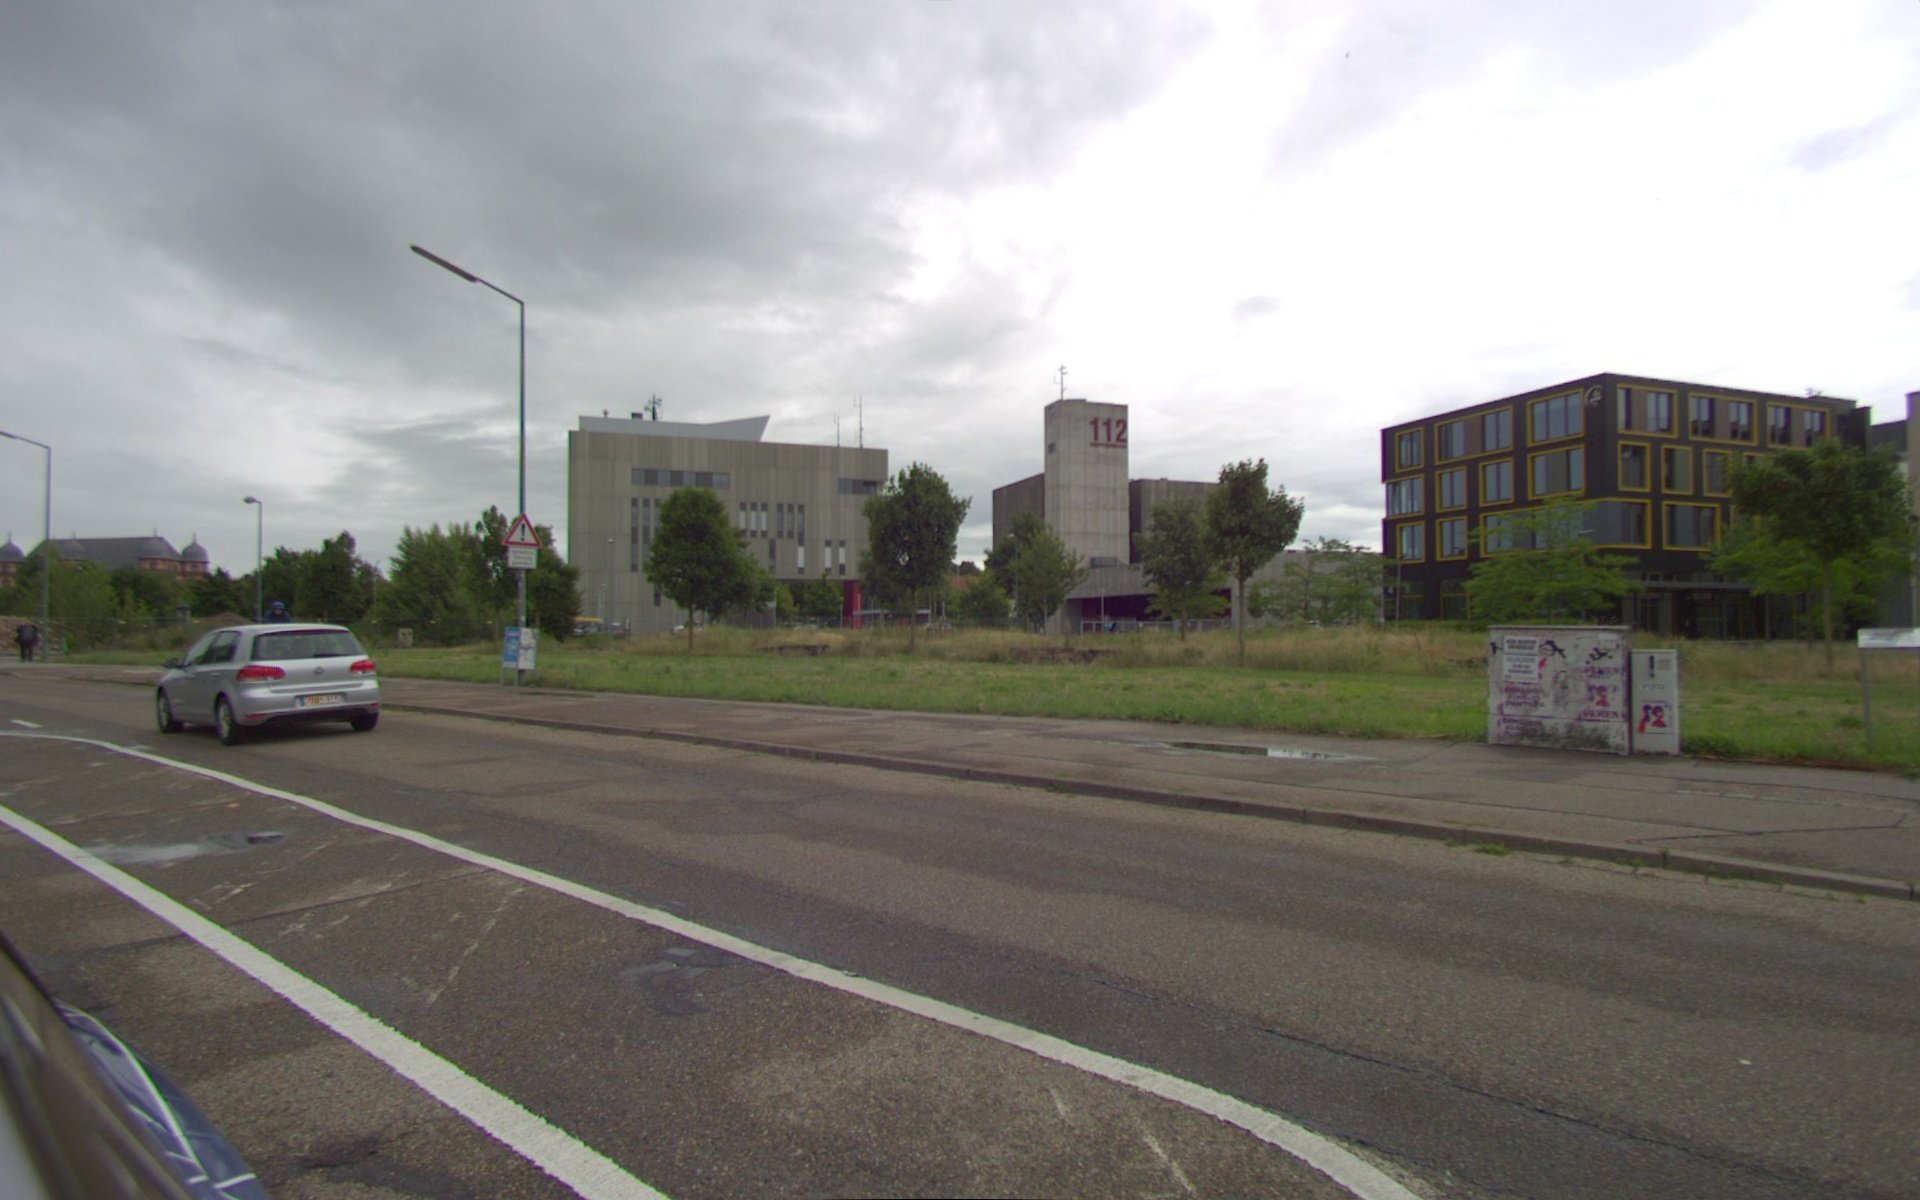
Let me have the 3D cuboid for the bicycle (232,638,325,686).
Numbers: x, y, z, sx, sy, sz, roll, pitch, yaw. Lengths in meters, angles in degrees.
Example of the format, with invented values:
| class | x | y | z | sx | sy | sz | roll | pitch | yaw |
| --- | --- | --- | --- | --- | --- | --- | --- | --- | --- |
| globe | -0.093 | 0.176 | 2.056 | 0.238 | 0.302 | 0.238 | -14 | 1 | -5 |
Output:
| class | x | y | z | sx | sy | sz | roll | pitch | yaw |
| --- | --- | --- | --- | --- | --- | --- | --- | --- | --- |
| bicycle | -15.781 | 1.425 | 23.410 | 2.461 | 1.060 | 0.877 | -3 | -3 | 32 |

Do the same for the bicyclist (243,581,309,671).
| class | x | y | z | sx | sy | sz | roll | pitch | yaw |
| --- | --- | --- | --- | --- | --- | --- | --- | --- | --- |
| bicyclist | -15.886 | 0.624 | 23.496 | 1.173 | 2.029 | 0.855 | -3 | -3 | 31 |

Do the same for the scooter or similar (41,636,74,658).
| class | x | y | z | sx | sy | sz | roll | pitch | yaw |
| --- | --- | --- | --- | --- | --- | --- | --- | --- | --- |
| scooter or similar | -50.122 | 2.606 | 56.224 | 1.315 | 1.151 | 0.413 | 0 | -1 | -32 |

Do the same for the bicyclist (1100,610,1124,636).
| class | x | y | z | sx | sy | sz | roll | pitch | yaw |
| --- | --- | --- | --- | --- | --- | --- | --- | --- | --- |
| bicyclist | 11.503 | 1.746 | 76.491 | 1.378 | 1.914 | 1.081 | 0 | -3 | -22 |

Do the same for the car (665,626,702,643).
| class | x | y | z | sx | sy | sz | roll | pitch | yaw |
| --- | --- | --- | --- | --- | --- | --- | --- | --- | --- |
| car | -30.694 | 3.842 | 112.322 | 3.821 | 1.775 | 1.733 | 0 | -2 | -20 |

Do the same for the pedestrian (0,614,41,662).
| class | x | y | z | sx | sy | sz | roll | pitch | yaw |
| --- | --- | --- | --- | --- | --- | --- | --- | --- | --- |
| pedestrian | -35.878 | 1.457 | 38.665 | 1.072 | 1.796 | 0.838 | -2 | -3 | 28 |

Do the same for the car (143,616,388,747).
| class | x | y | z | sx | sy | sz | roll | pitch | yaw |
| --- | --- | --- | --- | --- | --- | --- | --- | --- | --- |
| car | -9.494 | 1.017 | 13.717 | 4.052 | 1.473 | 1.655 | -2 | 0 | 39 |

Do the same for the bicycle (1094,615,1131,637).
| class | x | y | z | sx | sy | sz | roll | pitch | yaw |
| --- | --- | --- | --- | --- | --- | --- | --- | --- | --- |
| bicycle | 11.514 | 1.991 | 76.484 | 2.456 | 1.596 | 1.090 | 0 | -3 | -22 |

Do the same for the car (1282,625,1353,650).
| class | x | y | z | sx | sy | sz | roll | pitch | yaw |
| --- | --- | --- | --- | --- | --- | --- | --- | --- | --- |
| car | 22.752 | 2.414 | 64.594 | 1.965 | 1.535 | 4.013 | 2 | -4 | -26 |
